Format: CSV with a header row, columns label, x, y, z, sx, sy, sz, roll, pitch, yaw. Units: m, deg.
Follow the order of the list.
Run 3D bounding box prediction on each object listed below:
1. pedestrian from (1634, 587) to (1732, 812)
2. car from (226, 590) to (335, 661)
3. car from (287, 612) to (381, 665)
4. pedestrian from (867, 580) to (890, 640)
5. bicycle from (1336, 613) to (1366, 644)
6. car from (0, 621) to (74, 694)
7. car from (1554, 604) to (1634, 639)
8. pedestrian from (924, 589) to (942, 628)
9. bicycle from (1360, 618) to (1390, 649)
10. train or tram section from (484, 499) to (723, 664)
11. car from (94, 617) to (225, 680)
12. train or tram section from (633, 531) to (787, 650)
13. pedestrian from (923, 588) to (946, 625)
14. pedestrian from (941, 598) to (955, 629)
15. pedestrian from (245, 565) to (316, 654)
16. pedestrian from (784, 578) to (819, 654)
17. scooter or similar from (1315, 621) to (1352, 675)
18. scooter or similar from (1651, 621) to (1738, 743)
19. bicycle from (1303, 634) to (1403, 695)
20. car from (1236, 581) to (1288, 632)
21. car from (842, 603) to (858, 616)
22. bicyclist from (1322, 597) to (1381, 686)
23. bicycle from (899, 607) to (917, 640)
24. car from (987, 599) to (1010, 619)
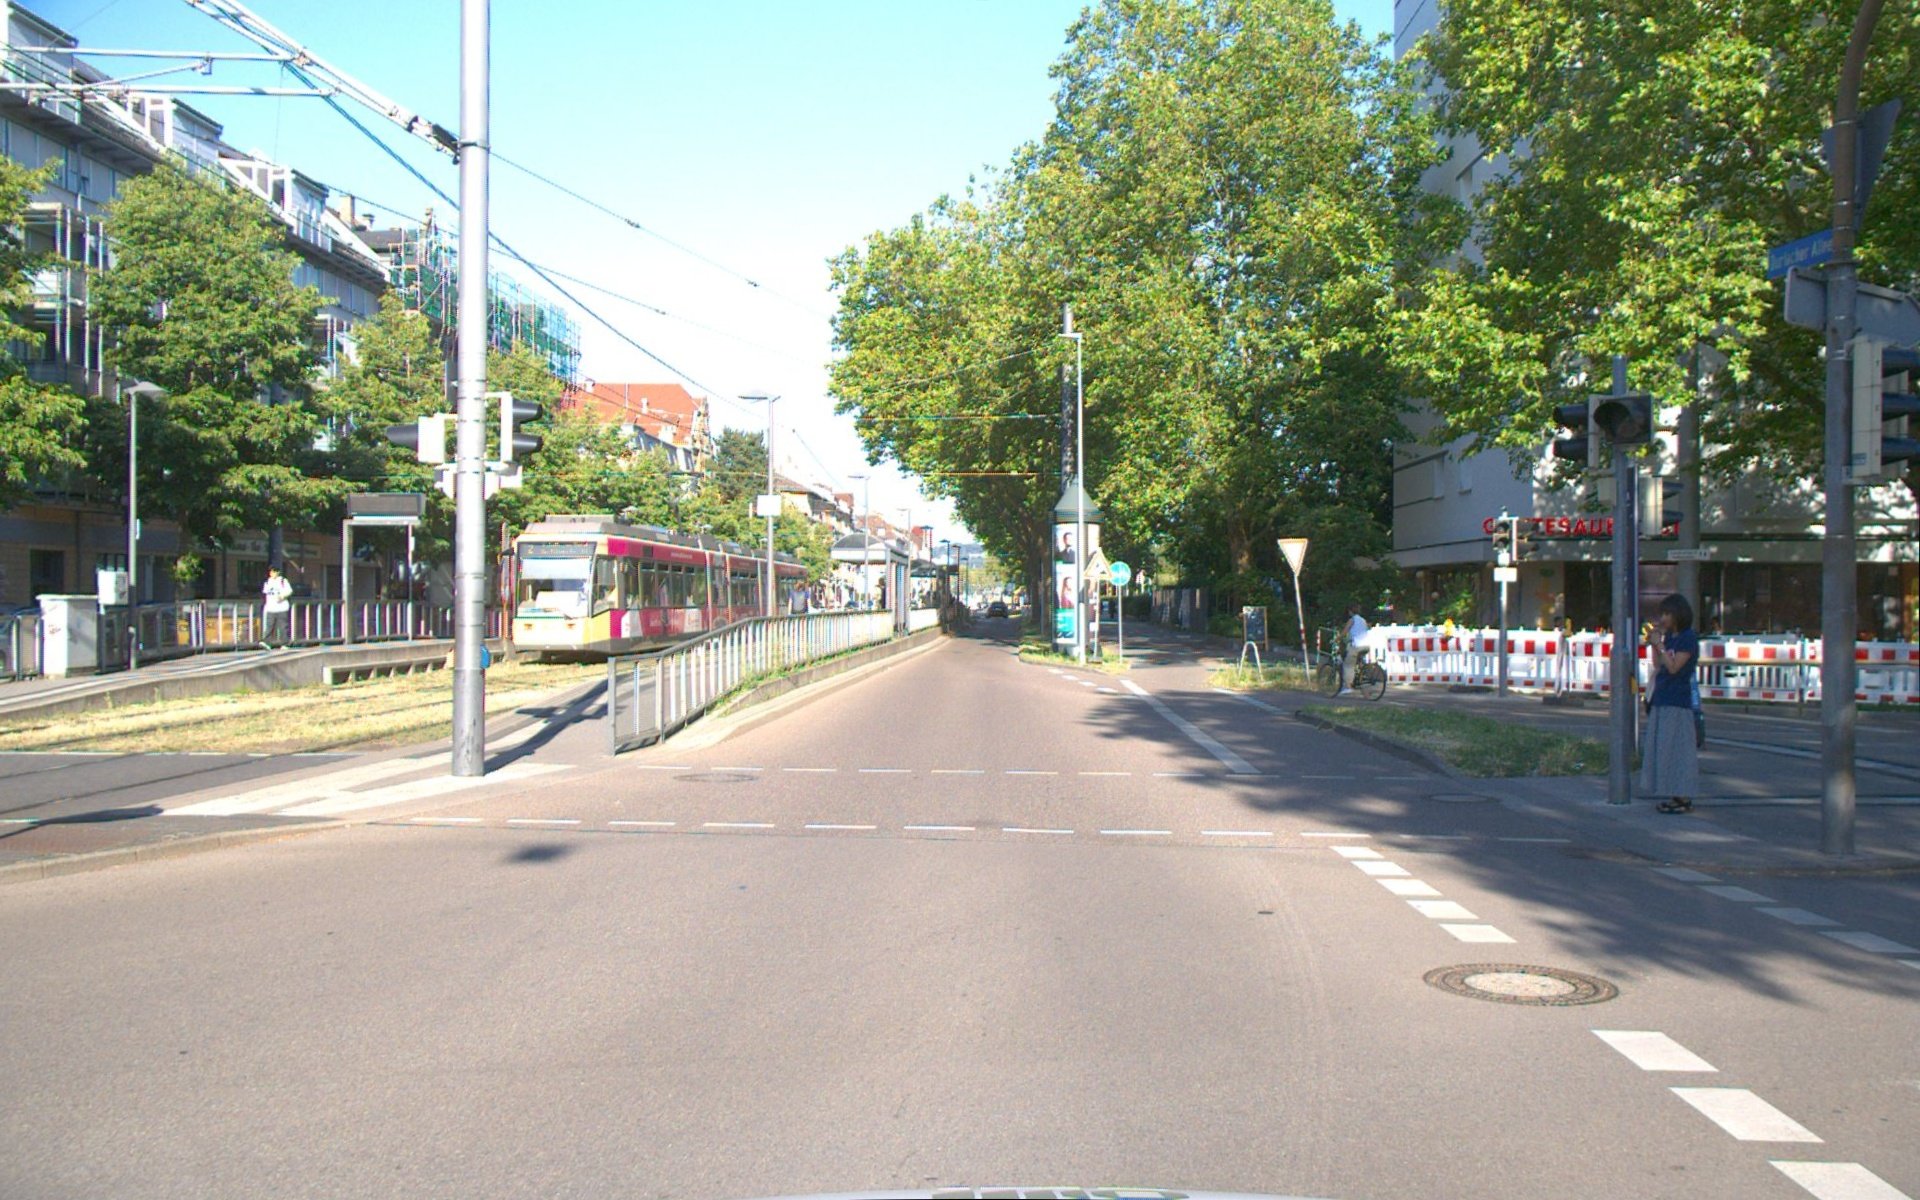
label,x,y,z,sx,sy,sz,roll,pitch,yaw
pedestrian,5.522,0.743,12.644,0.419,1.668,0.612,1,0,-6
car,-22.543,0.837,55.021,1.900,2.204,3.785,2,0,2
car,-22.384,1.350,59.282,1.769,1.759,3.785,2,0,2
pedestrian,-2.664,0.325,54.143,0.655,1.935,0.824,2,-1,1
bicycle,15.519,1.129,65.648,0.772,1.198,1.821,2,0,2
car,-23.009,1.344,39.270,1.769,1.606,3.785,2,0,2
car,28.741,0.969,75.101,1.953,1.478,3.999,2,0,-2
pedestrian,-1.279,0.404,77.645,0.749,1.789,0.695,2,-1,1
bicycle,16.442,1.311,65.577,0.772,1.198,1.821,2,0,2
train or tram section,-9.140,-0.355,44.850,2.810,3.740,14.563,0,0,2
car,-22.841,1.358,47.366,1.769,1.664,3.785,2,0,2
train or tram section,-8.629,-0.232,59.395,2.810,3.750,14.563,0,0,2
pedestrian,-1.232,0.313,79.889,0.899,1.752,0.625,2,-1,-32
pedestrian,-0.686,0.768,94.794,0.665,1.720,0.895,2,-1,2
pedestrian,-12.685,0.183,30.911,0.881,1.608,0.958,2,-1,-1
pedestrian,-3.518,0.347,36.678,0.616,1.638,0.982,2,-1,0
scooter or similar,9.109,1.164,40.353,0.549,1.279,1.289,-1,-1,-2
scooter or similar,8.014,0.870,18.089,0.548,1.279,1.291,-1,-1,10
bicycle,7.058,1.146,29.764,0.599,1.044,1.741,1,-1,-40
car,16.079,0.359,88.351,1.952,2.543,6.349,2,0,4
car,-16.515,1.470,248.593,1.974,1.784,4.559,2,1,1
bicyclist,7.049,0.739,29.779,0.599,1.578,0.847,1,-1,-40
bicycle,-1.903,0.854,60.819,0.502,1.153,2.104,2,0,2
car,3.389,0.813,145.465,1.952,1.713,4.001,2,0,2
